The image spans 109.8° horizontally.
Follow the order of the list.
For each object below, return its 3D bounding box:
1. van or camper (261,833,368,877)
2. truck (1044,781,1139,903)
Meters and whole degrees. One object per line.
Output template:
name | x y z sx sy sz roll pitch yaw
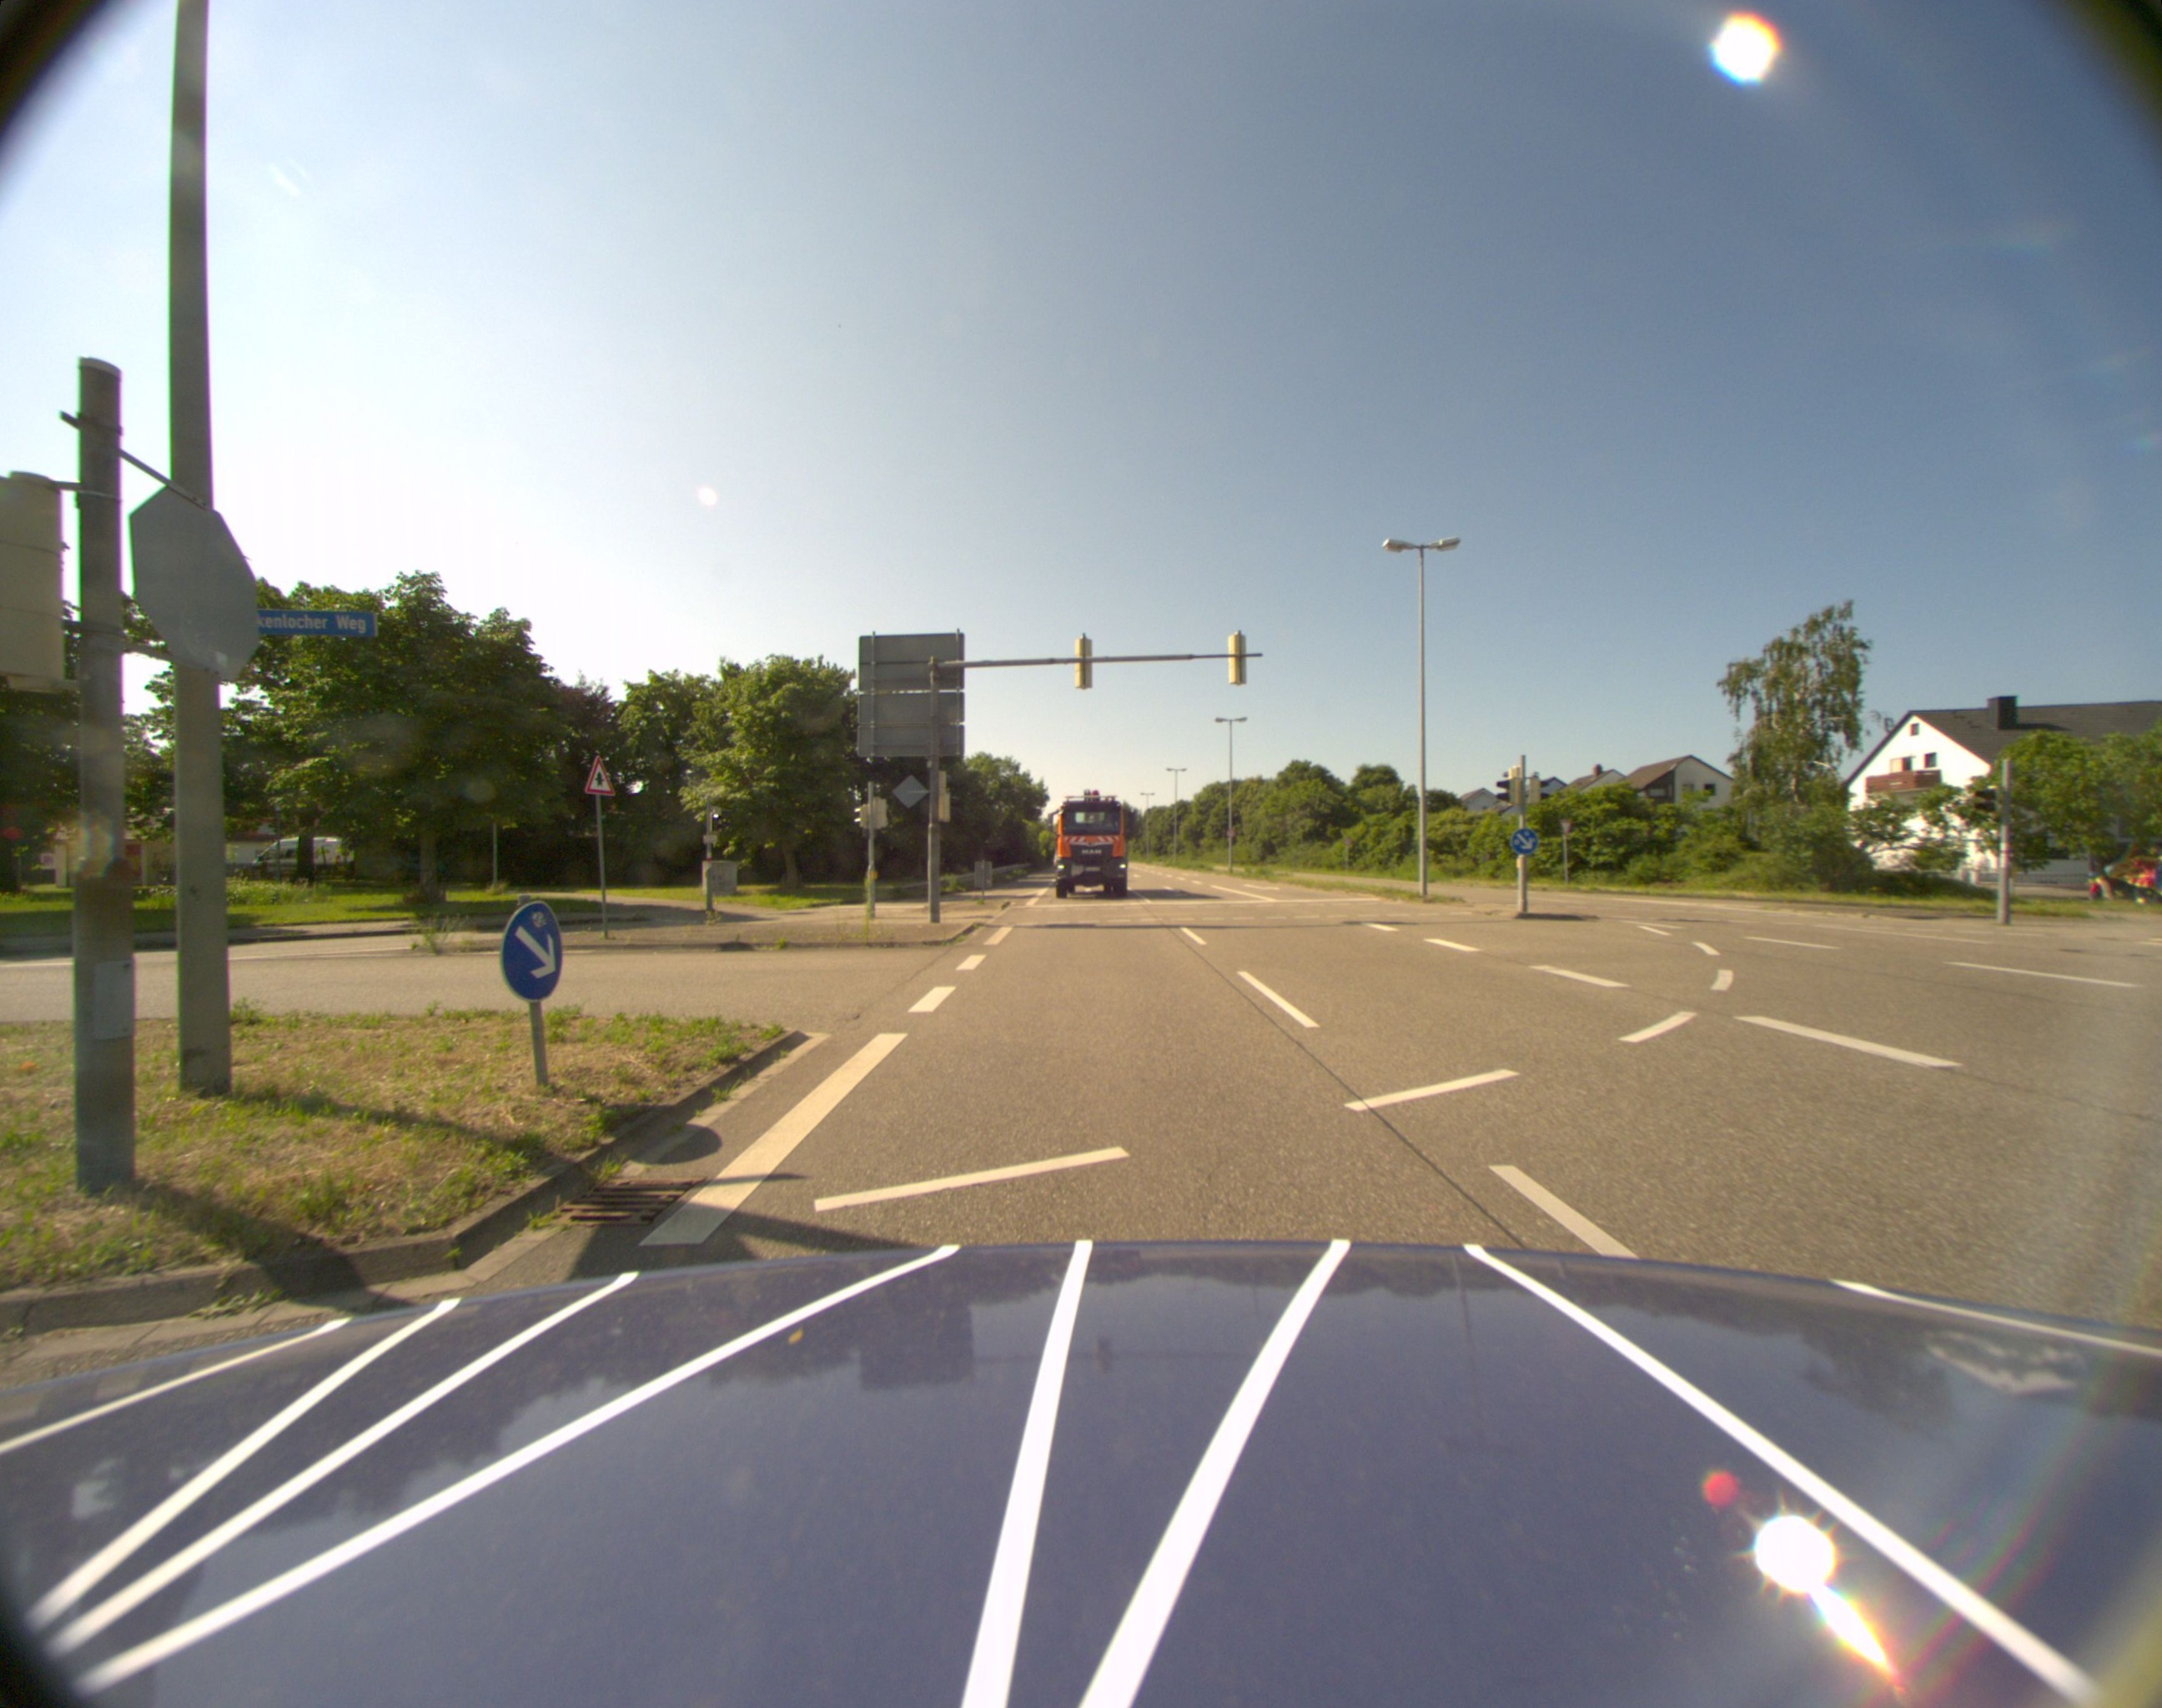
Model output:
van or camper | -50.054 0.039 49.722 4.812 2.815 1.999 0 1 -2
truck | 0.381 -0.430 27.834 2.940 3.853 6.590 -2 1 1
